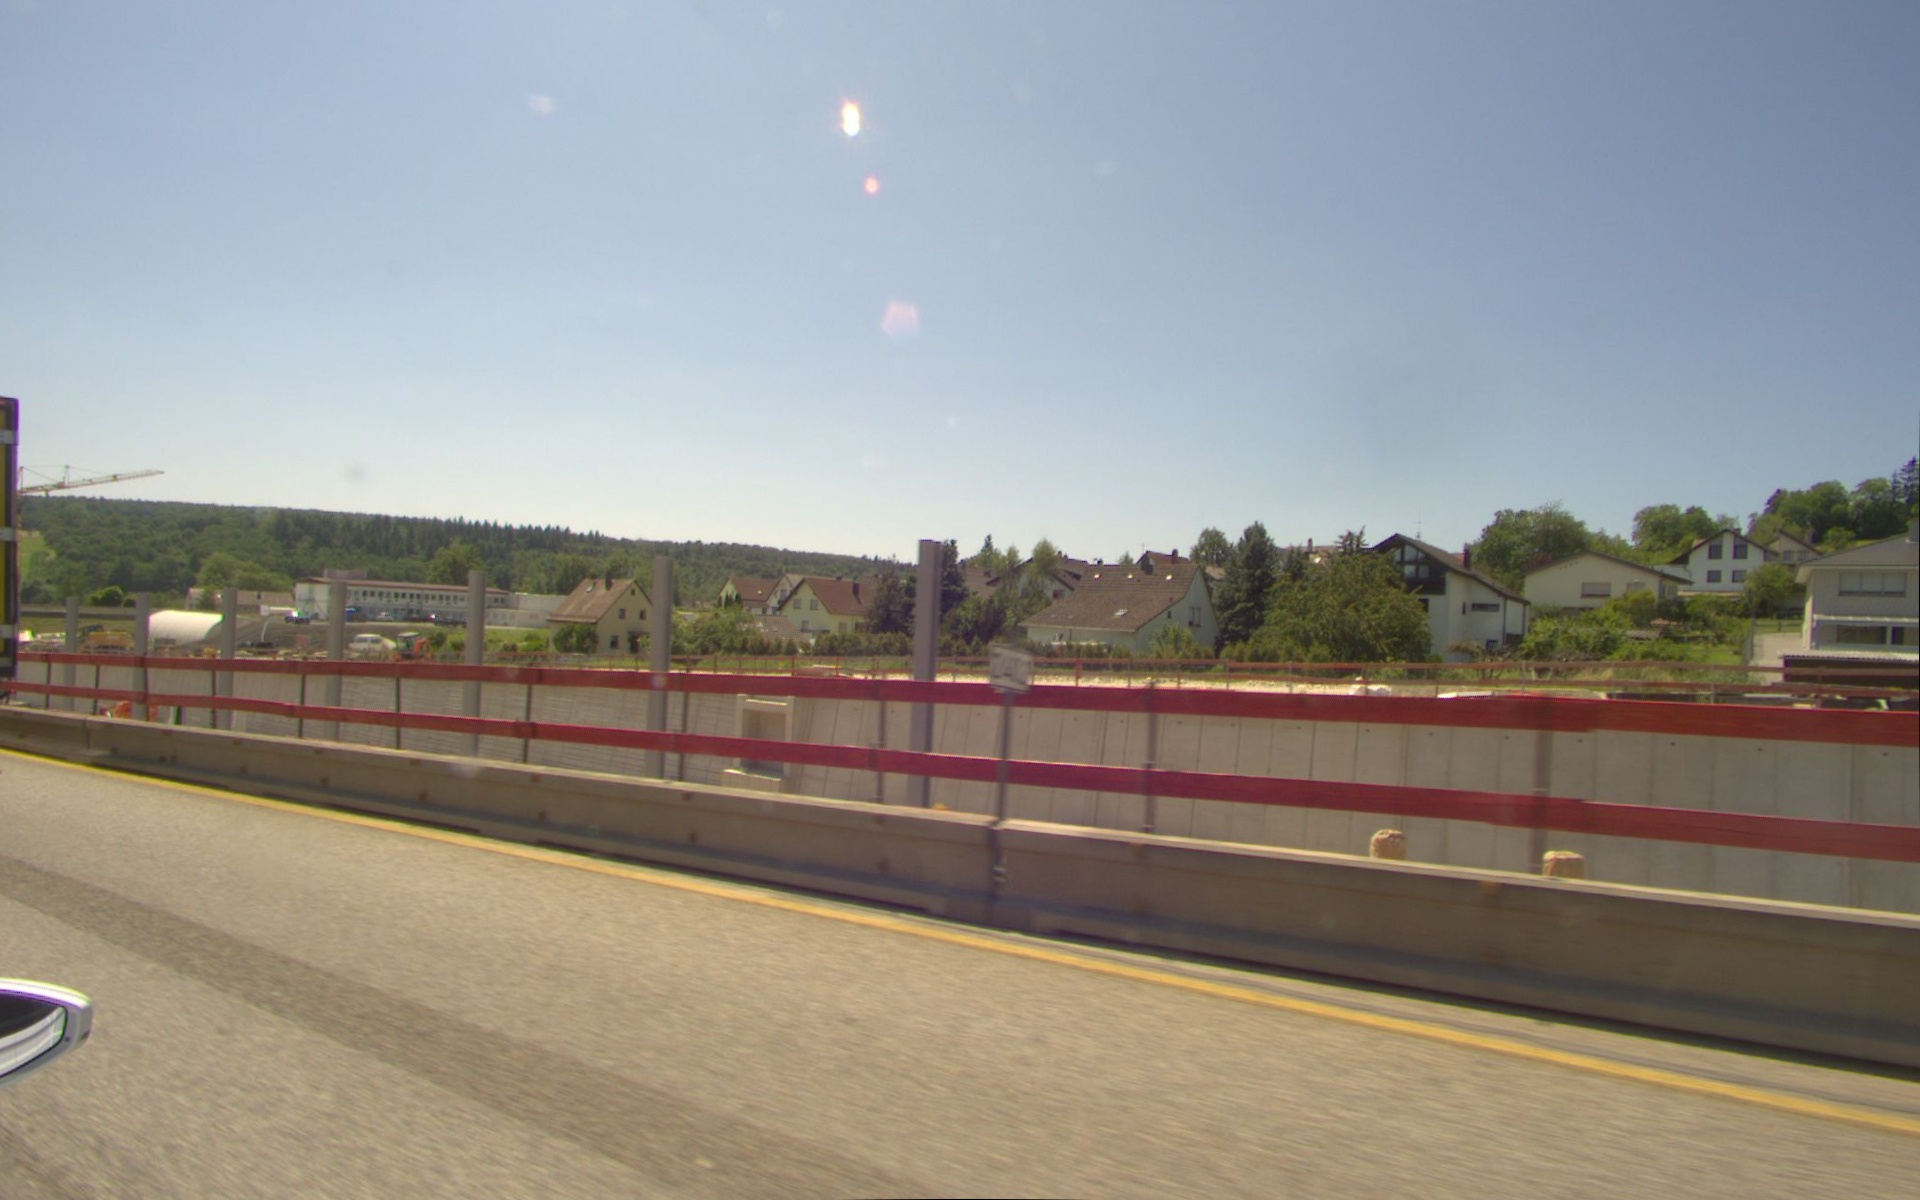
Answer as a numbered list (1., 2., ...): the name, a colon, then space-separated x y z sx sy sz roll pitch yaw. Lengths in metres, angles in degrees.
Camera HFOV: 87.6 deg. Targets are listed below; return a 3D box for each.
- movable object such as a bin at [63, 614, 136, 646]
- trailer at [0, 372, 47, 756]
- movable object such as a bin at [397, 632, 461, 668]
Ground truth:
1. movable object such as a bin: -83.793 2.942 97.429 9.346 2.946 2.882 -1 -2 33
2. trailer: -16.690 -0.268 13.562 13.915 4.110 2.797 -1 -1 32
3. movable object such as a bin: -34.586 3.244 65.187 4.093 2.267 1.990 -1 -2 33
